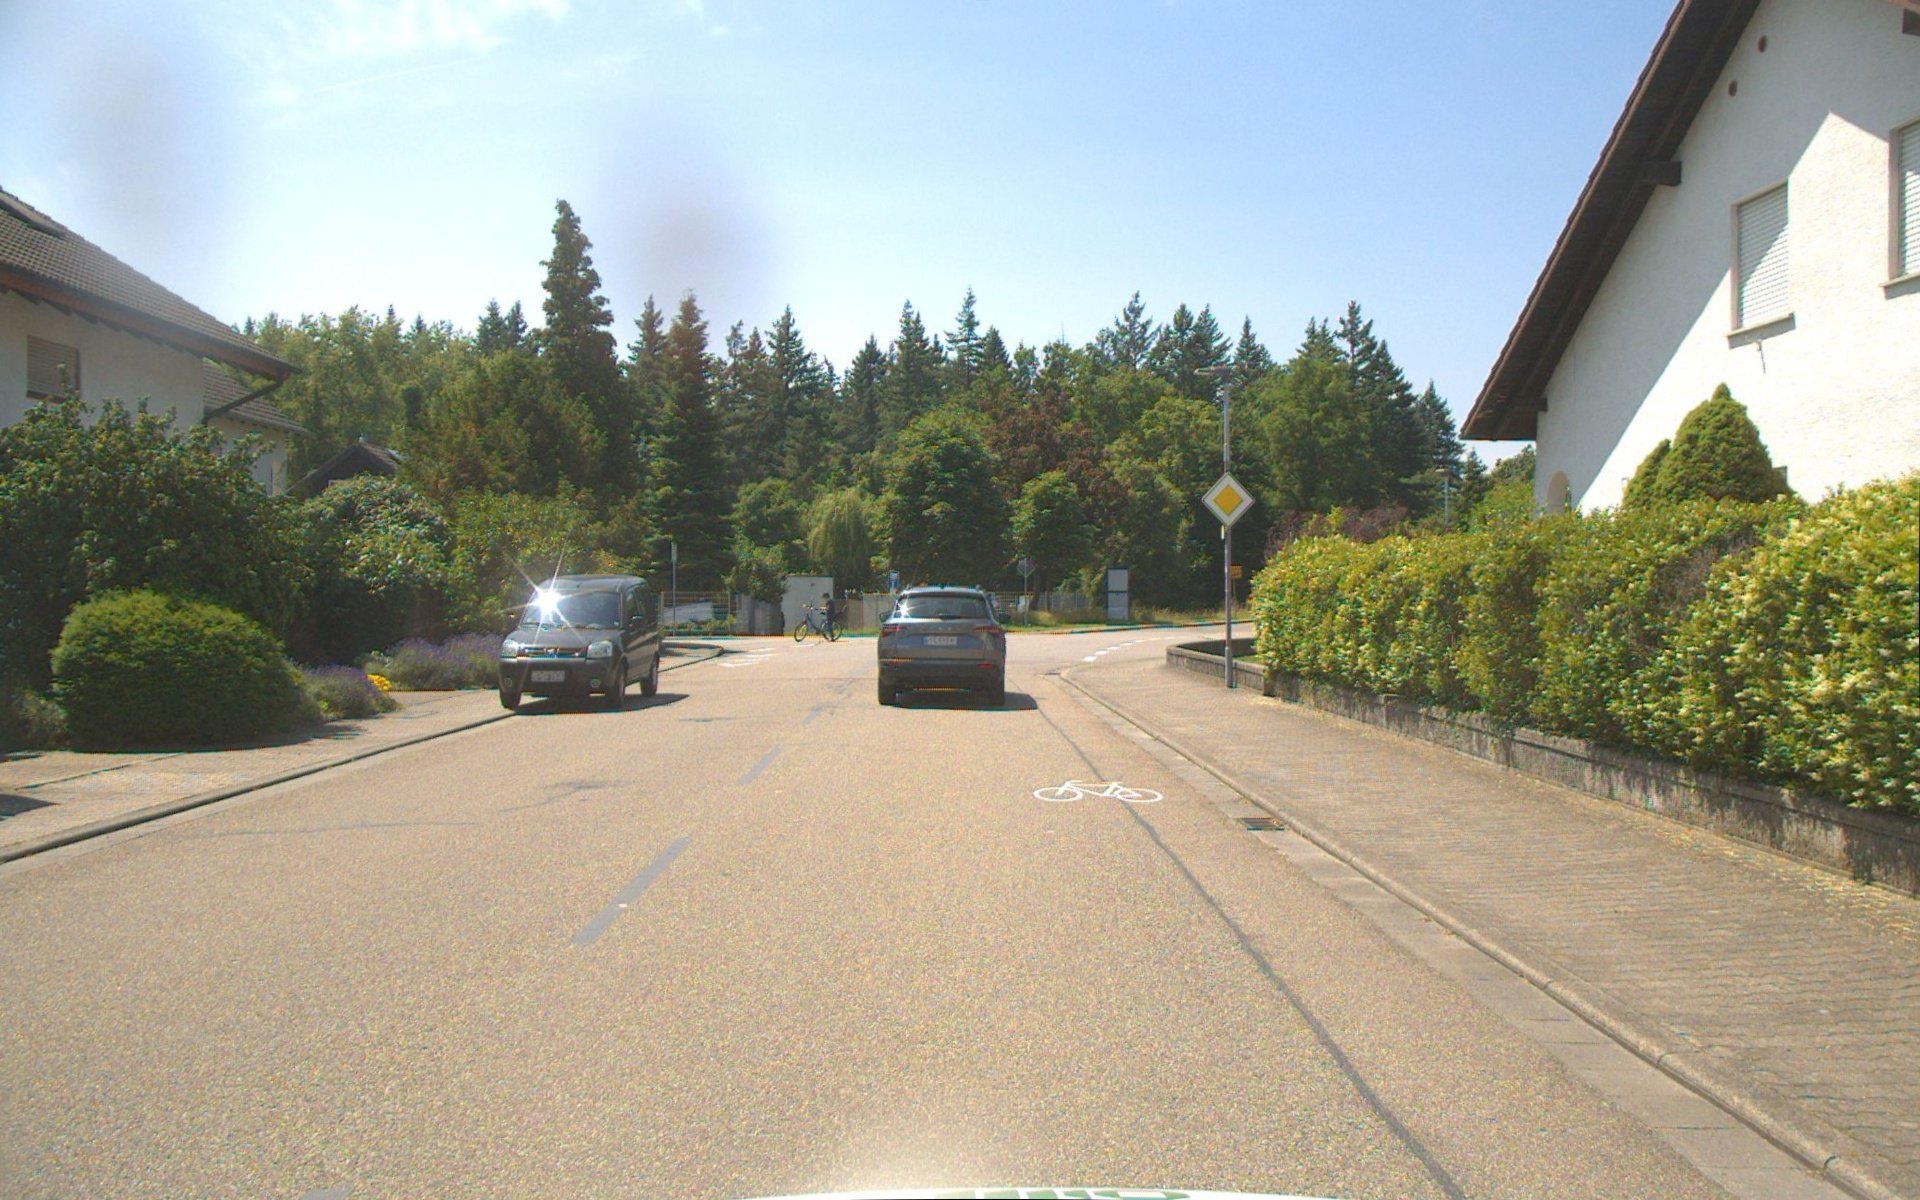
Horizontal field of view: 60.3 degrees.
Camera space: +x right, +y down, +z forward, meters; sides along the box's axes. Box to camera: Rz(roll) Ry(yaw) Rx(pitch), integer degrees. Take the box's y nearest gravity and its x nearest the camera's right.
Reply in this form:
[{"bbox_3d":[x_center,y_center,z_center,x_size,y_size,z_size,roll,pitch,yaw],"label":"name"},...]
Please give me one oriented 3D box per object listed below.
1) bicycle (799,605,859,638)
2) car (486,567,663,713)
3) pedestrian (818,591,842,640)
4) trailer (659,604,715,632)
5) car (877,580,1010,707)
[{"bbox_3d":[-4.097,0.663,51.601,1.816,0.980,0.440,-1,0,-22],"label":"bicycle"},{"bbox_3d":[-5.377,0.514,23.530,1.683,1.878,4.053,0,0,-2],"label":"car"},{"bbox_3d":[-4.011,0.475,51.102,0.601,1.527,0.501,0,0,-21],"label":"pedestrian"},{"bbox_3d":[-10.918,0.708,66.164,2.174,1.103,1.104,0,0,-9],"label":"trailer"},{"bbox_3d":[-0.282,0.574,23.771,1.727,1.646,3.998,1,0,-2],"label":"car"}]
